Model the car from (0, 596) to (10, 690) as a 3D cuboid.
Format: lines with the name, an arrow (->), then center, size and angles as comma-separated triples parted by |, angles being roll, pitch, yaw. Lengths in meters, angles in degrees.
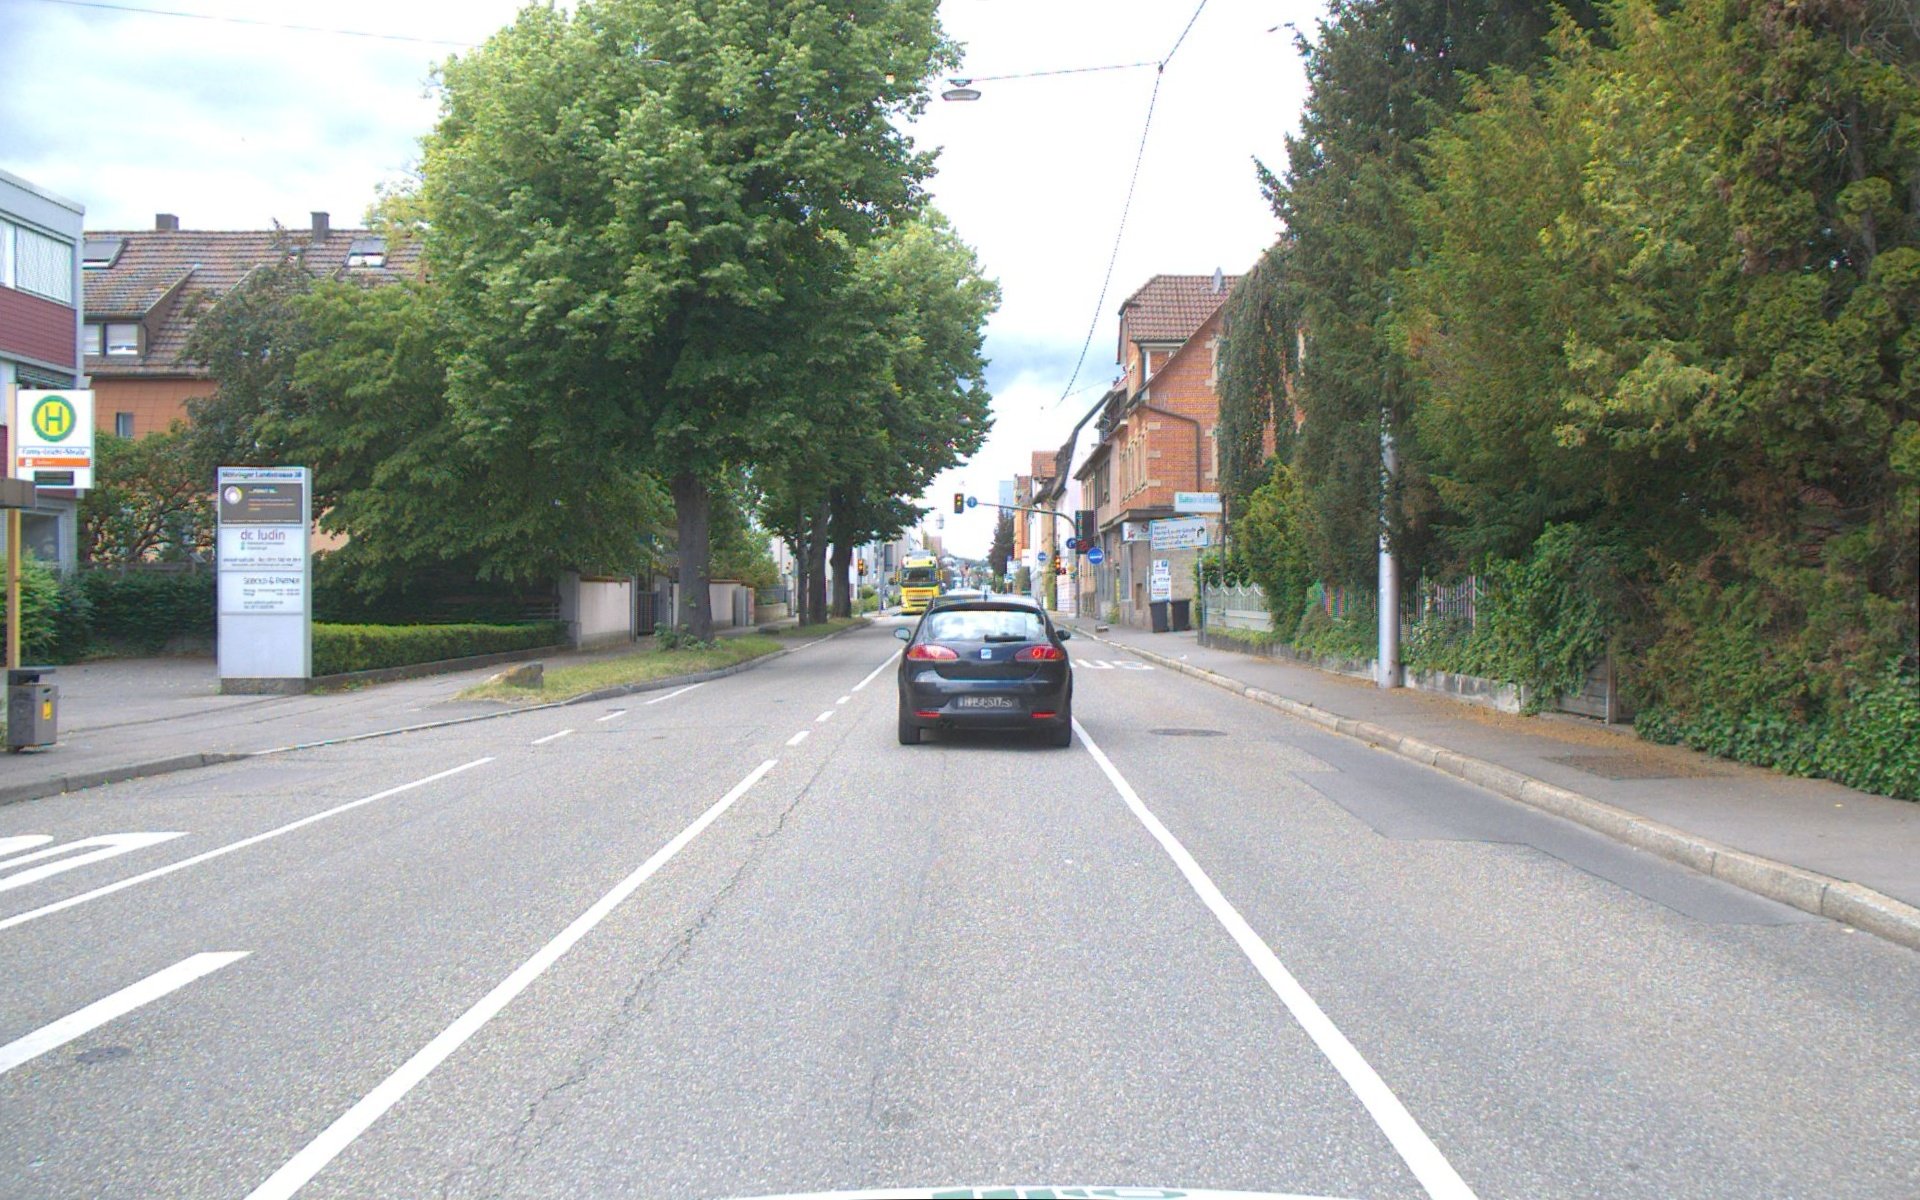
car -> -17.521, 0.654, 26.308 | 4.050, 1.505, 1.814 | 1, 0, 15

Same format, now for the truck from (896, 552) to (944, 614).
truck -> -2.551, -1.074, 108.689 | 2.785, 3.848, 7.670 | 1, 0, 1

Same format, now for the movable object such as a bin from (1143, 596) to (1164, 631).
movable object such as a bin -> 6.375, 0.439, 54.629 | 0.594, 1.120, 0.622 | -2, -1, 0

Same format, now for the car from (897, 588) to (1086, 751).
car -> 0.300, 0.649, 17.258 | 1.723, 1.467, 4.000 | 1, 0, 0

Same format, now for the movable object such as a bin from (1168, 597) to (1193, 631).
movable object such as a bin -> 7.272, 0.468, 54.556 | 0.684, 1.077, 0.723 | -2, 0, 0

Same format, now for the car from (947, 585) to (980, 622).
car -> 0.160, 0.165, 78.408 | 1.500, 1.723, 3.693 | 1, 0, 0

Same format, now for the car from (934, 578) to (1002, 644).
car -> 0.218, 0.303, 46.481 | 1.805, 1.723, 4.000 | 1, 0, 0
